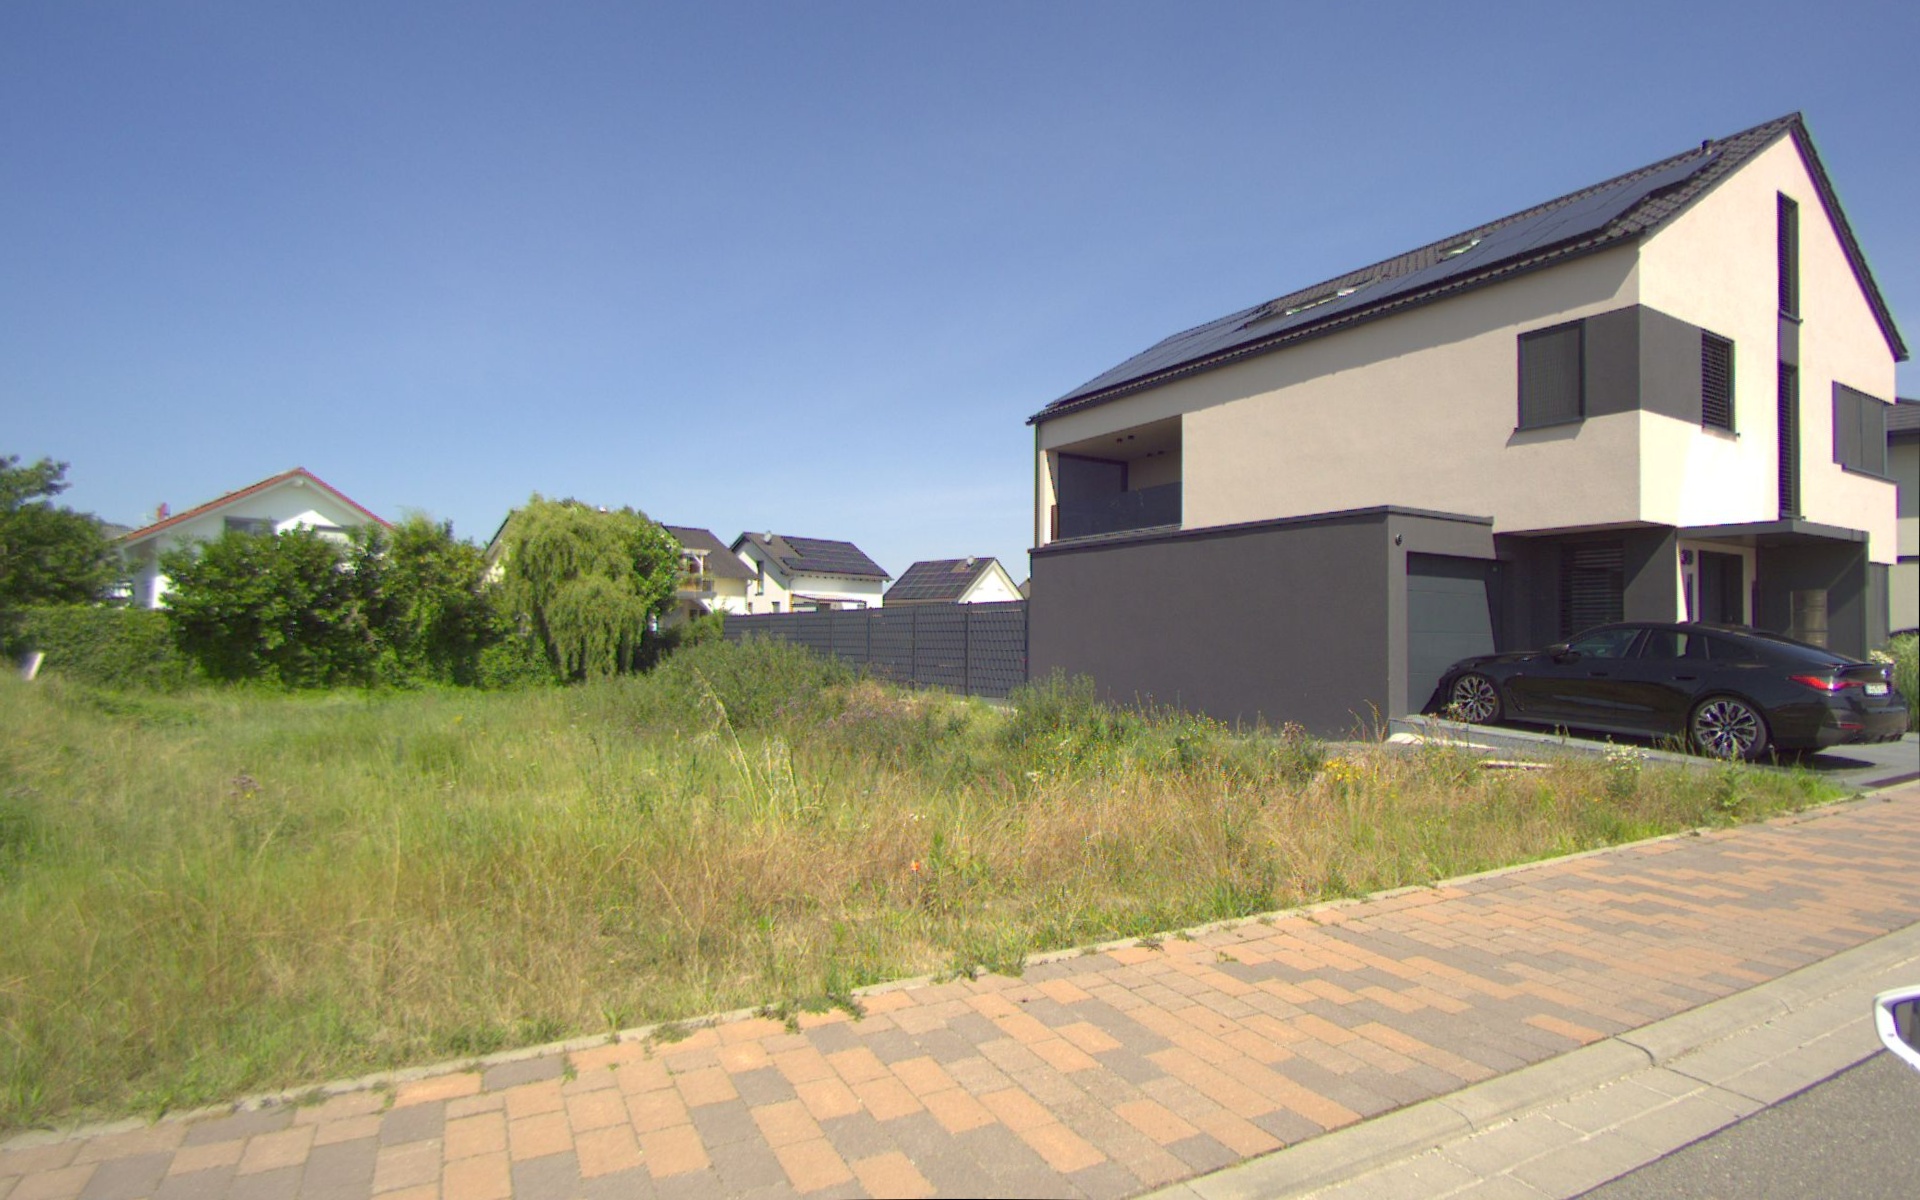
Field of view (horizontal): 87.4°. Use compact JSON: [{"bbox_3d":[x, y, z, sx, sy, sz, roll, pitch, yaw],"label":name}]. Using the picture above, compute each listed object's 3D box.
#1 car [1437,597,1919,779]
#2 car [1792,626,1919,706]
[{"bbox_3d":[8.176,0.852,11.859,1.750,1.653,4.354,2,0,-30],"label":"car"},{"bbox_3d":[18.880,1.267,19.430,1.733,1.506,3.970,1,-2,-29],"label":"car"}]
